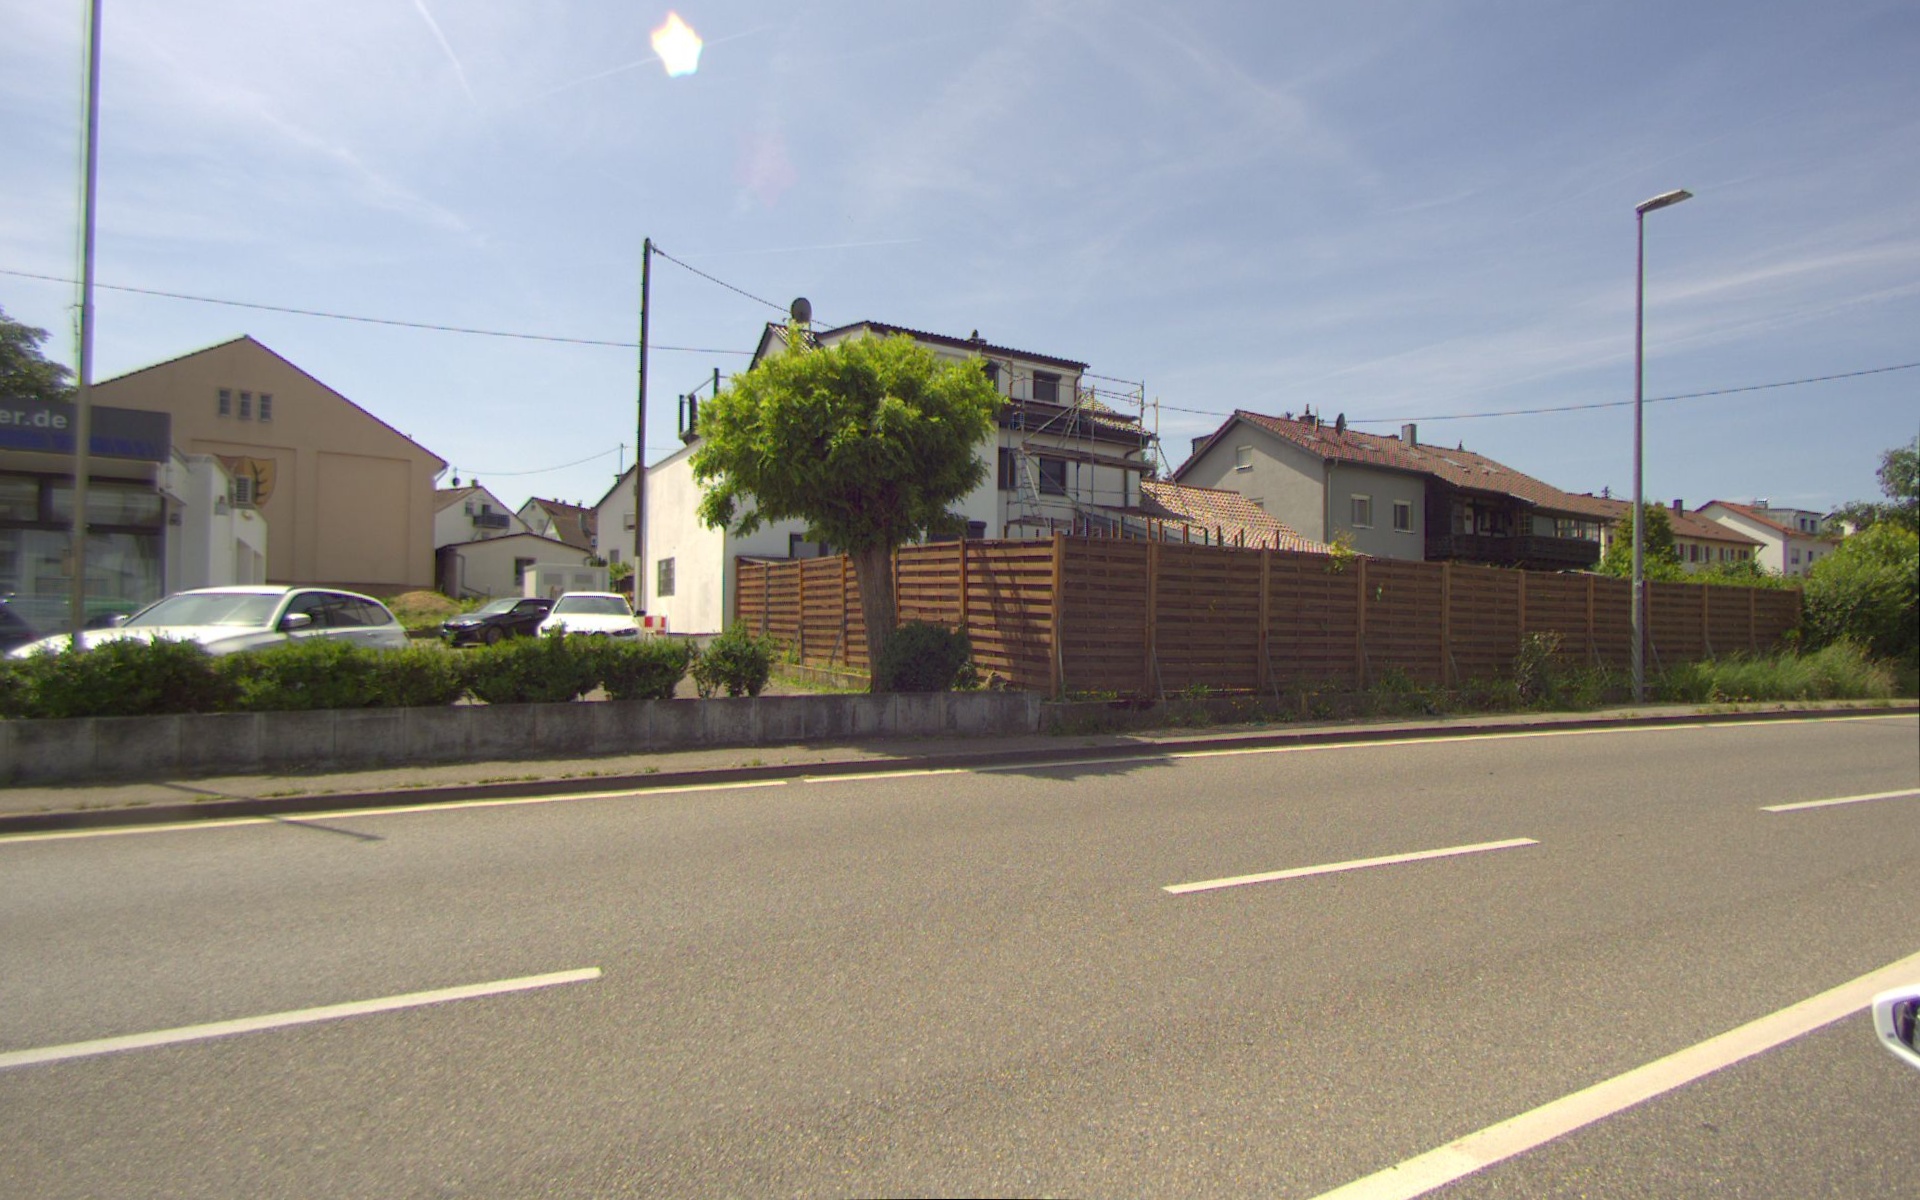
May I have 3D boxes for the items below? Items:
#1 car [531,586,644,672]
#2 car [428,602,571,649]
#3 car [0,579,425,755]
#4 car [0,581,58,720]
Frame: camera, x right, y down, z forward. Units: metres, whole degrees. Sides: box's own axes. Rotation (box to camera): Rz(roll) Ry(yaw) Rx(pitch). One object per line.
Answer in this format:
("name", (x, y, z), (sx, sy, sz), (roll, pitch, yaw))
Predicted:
("car", (-7.264, 0.514, 19.913), (1.805, 1.530, 3.985), (1, 0, -17))
("car", (-14.276, 0.746, 31.369), (1.756, 1.238, 3.999), (2, 1, 21))
("car", (-7.713, 0.585, 10.828), (1.822, 1.467, 4.339), (2, 0, -5))
("car", (-10.977, 0.502, 9.118), (1.863, 1.467, 4.339), (2, 0, -5))
